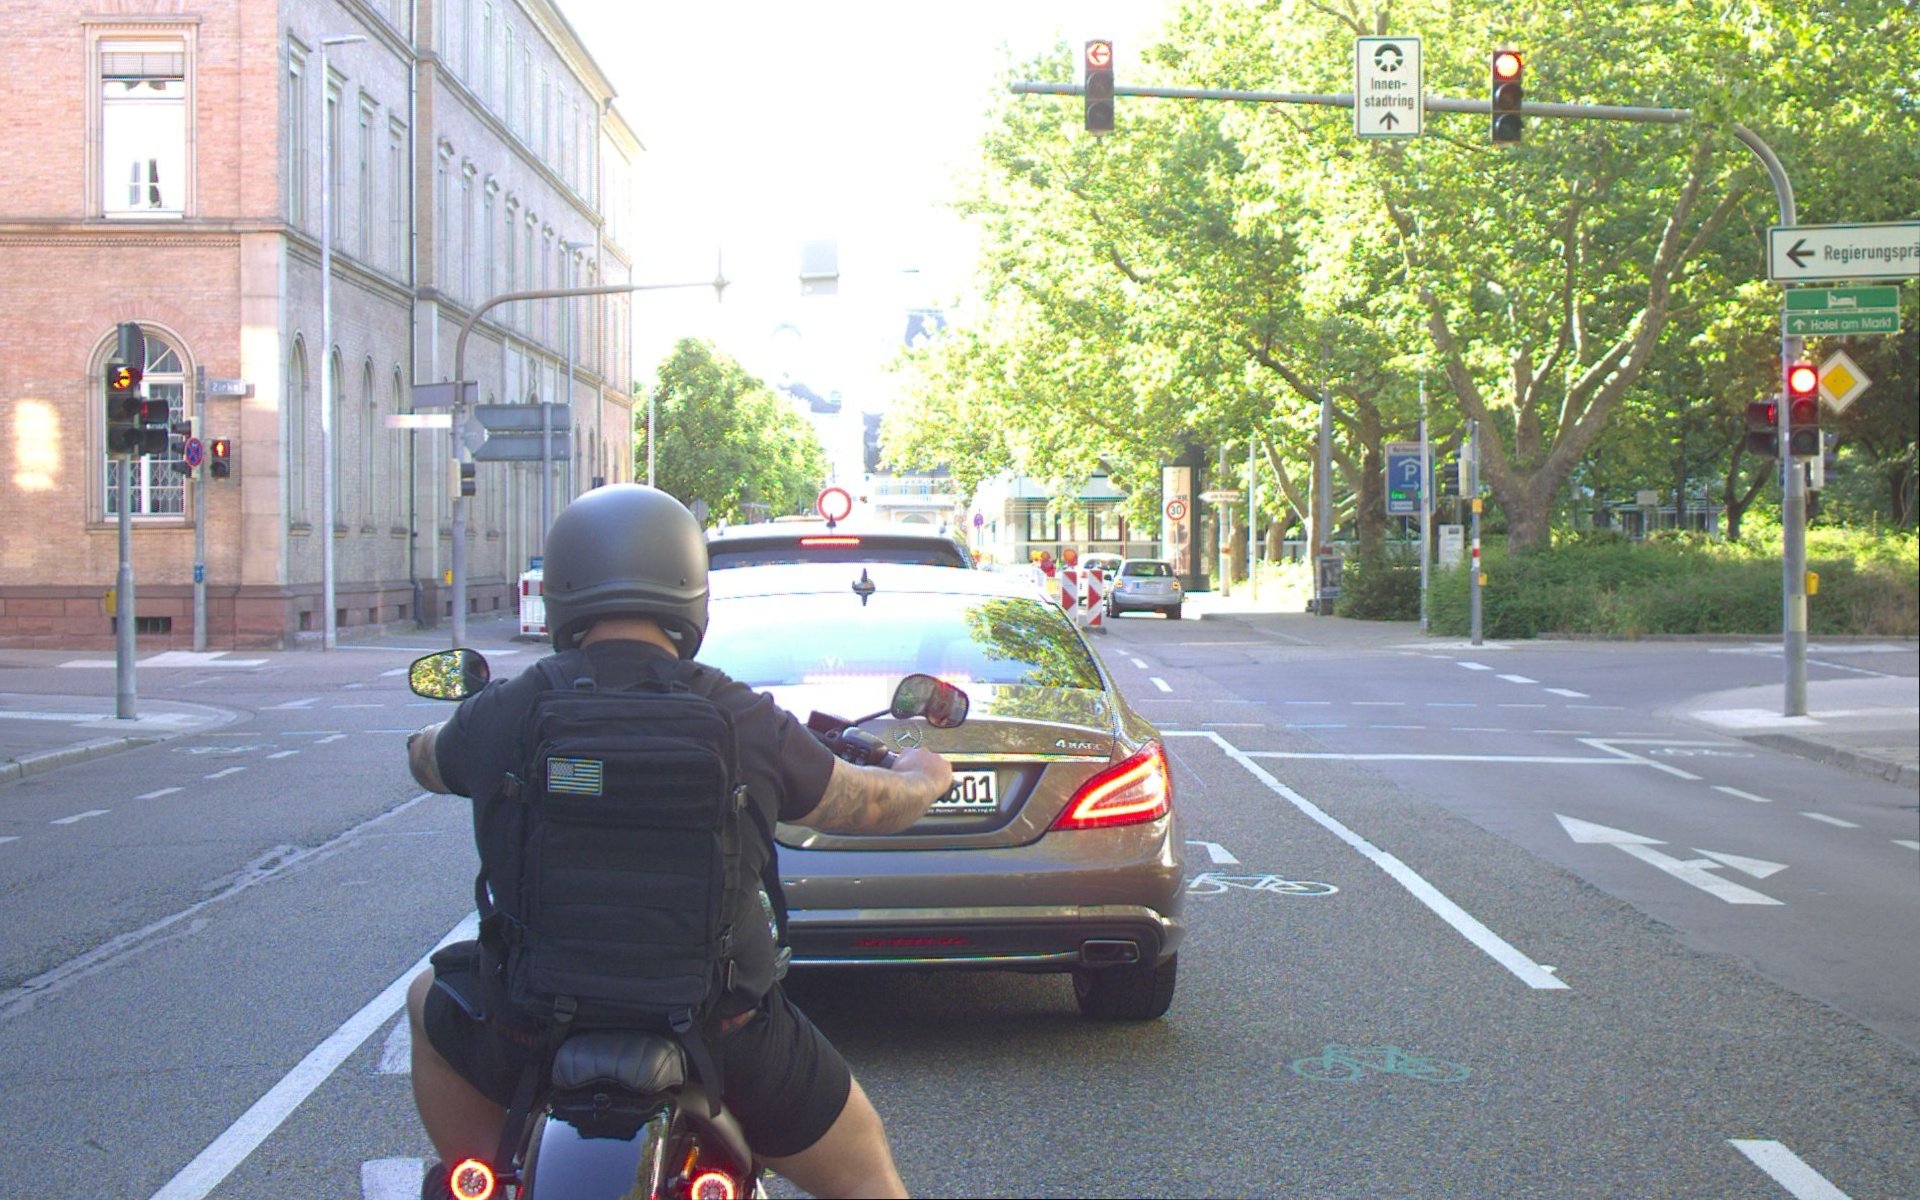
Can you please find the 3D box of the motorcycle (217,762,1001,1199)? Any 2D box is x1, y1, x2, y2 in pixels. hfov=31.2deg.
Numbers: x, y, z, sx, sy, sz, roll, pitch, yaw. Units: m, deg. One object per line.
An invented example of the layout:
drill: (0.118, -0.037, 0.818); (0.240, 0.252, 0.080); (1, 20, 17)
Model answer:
motorcycle: (-0.457, 0.880, 5.577); (0.989, 1.075, 2.452); (0, 1, -1)

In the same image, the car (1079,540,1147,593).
car: (4.406, -0.960, 99.350); (1.856, 1.481, 3.908); (1, 1, 1)

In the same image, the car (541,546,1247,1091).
car: (-0.432, 0.558, 11.613); (1.945, 1.468, 4.363); (0, 1, -7)

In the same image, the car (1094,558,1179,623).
car: (4.181, -0.253, 82.033); (1.821, 1.475, 3.908); (-1, 1, 0)

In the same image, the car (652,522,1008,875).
car: (-0.638, 0.407, 17.778); (1.612, 1.602, 4.329); (0, 1, -1)

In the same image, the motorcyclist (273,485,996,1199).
motorcyclist: (-0.453, 0.625, 5.418); (0.989, 1.591, 1.404); (0, 1, -1)
